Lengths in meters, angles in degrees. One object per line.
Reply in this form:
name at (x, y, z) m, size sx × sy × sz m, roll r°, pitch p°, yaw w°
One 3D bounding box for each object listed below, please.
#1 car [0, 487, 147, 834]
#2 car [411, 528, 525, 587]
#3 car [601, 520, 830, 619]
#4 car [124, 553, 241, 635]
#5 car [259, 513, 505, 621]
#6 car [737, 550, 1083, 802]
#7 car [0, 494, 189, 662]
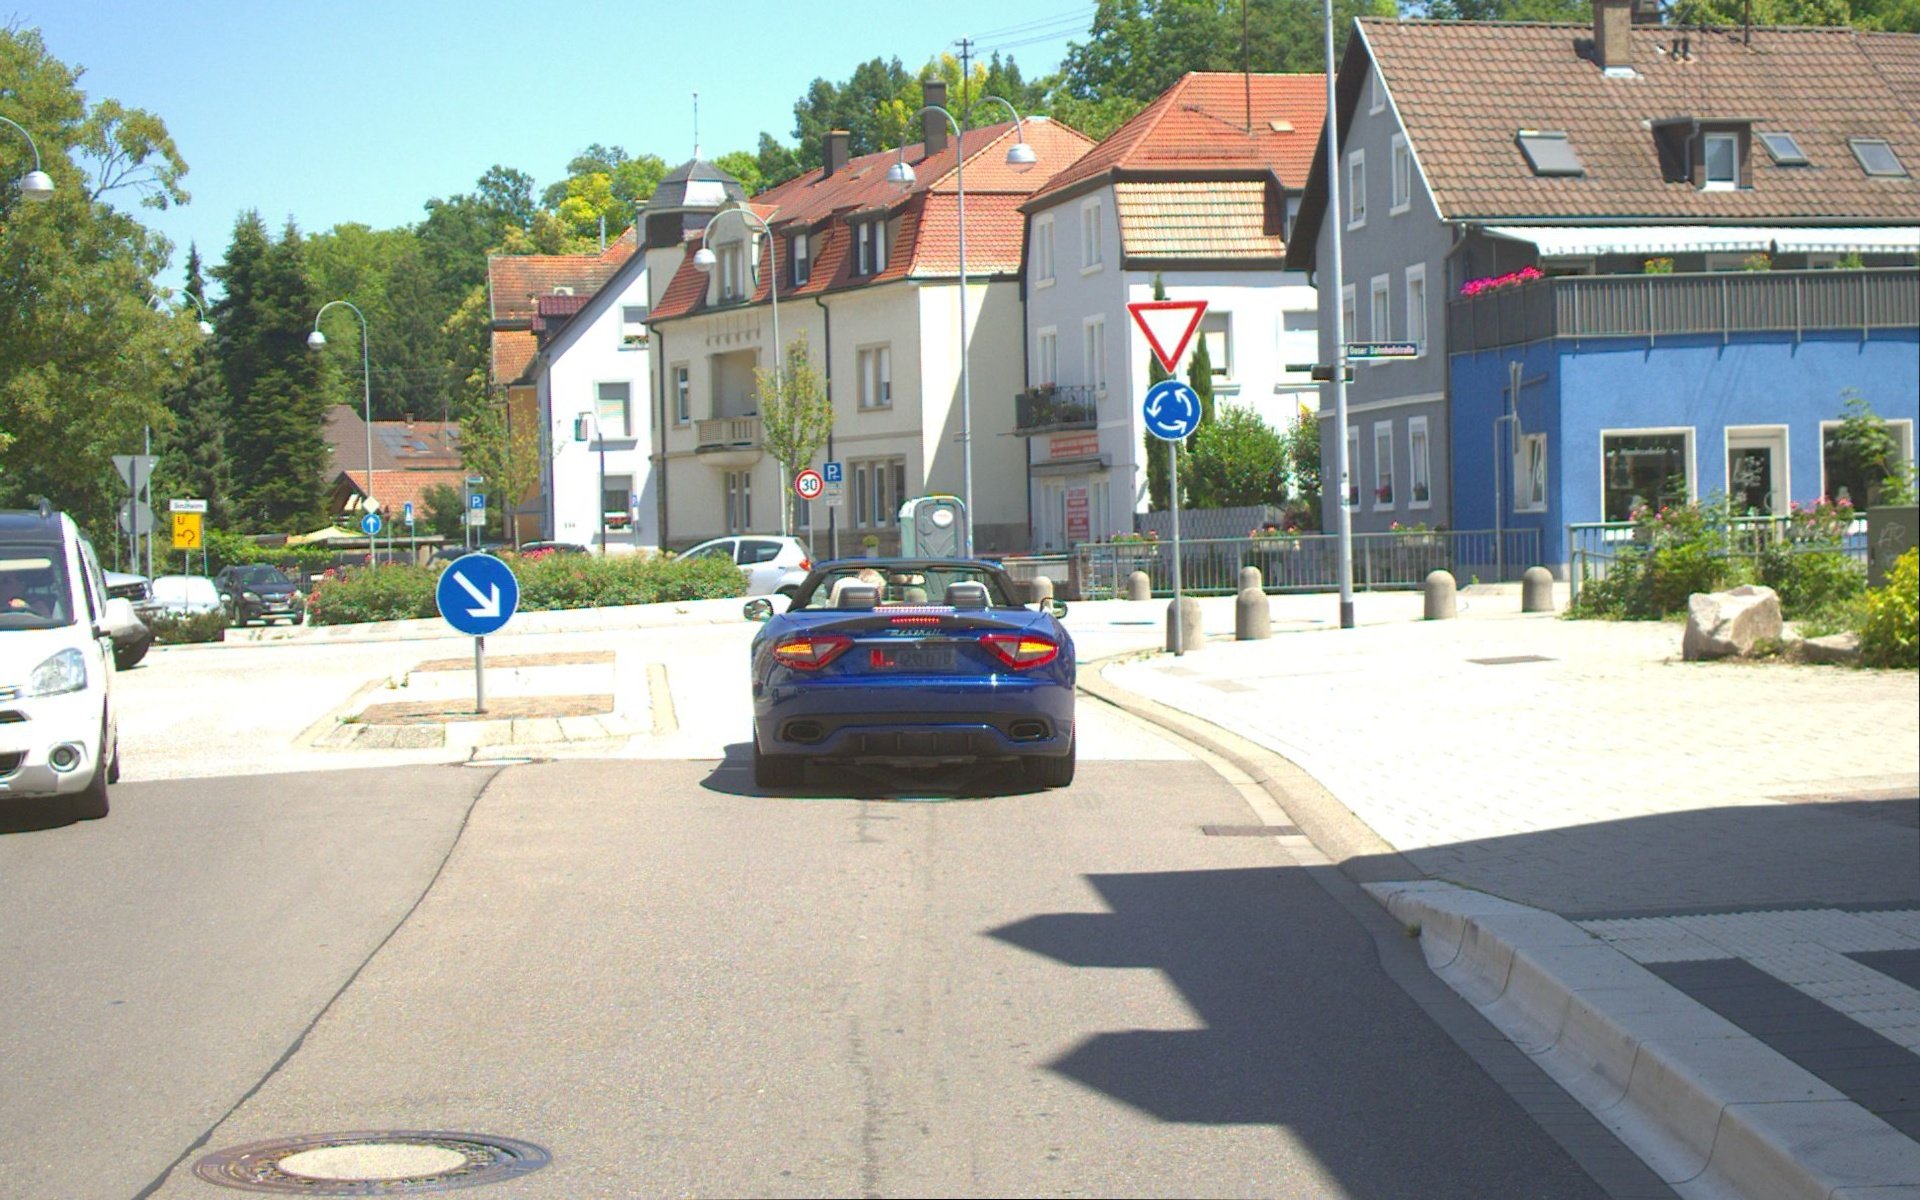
car at (-5.973, 0.331, 20.333) m, size 1.993 × 1.815 × 4.417 m, roll -3°, pitch 1°, yaw -11°
car at (-14.745, -1.264, 102.948) m, size 1.850 × 1.582 × 4.000 m, roll -4°, pitch 2°, yaw -32°
car at (-4.035, -0.509, 56.995) m, size 3.460 × 1.445 × 1.580 m, roll -3°, pitch 1°, yaw 9°
car at (-15.678, -0.120, 69.486) m, size 1.993 × 1.504 × 4.001 m, roll -3°, pitch 0°, yaw -9°
car at (-7.979, -0.435, 47.152) m, size 1.993 × 1.325 × 4.201 m, roll -3°, pitch 1°, yaw -29°
car at (-0.301, 0.394, 21.339) m, size 1.910 × 1.356 × 4.286 m, roll -1°, pitch 1°, yaw -1°
car at (-11.385, -0.259, 40.253) m, size 4.218 × 1.868 × 1.763 m, roll -1°, pitch 2°, yaw 8°
